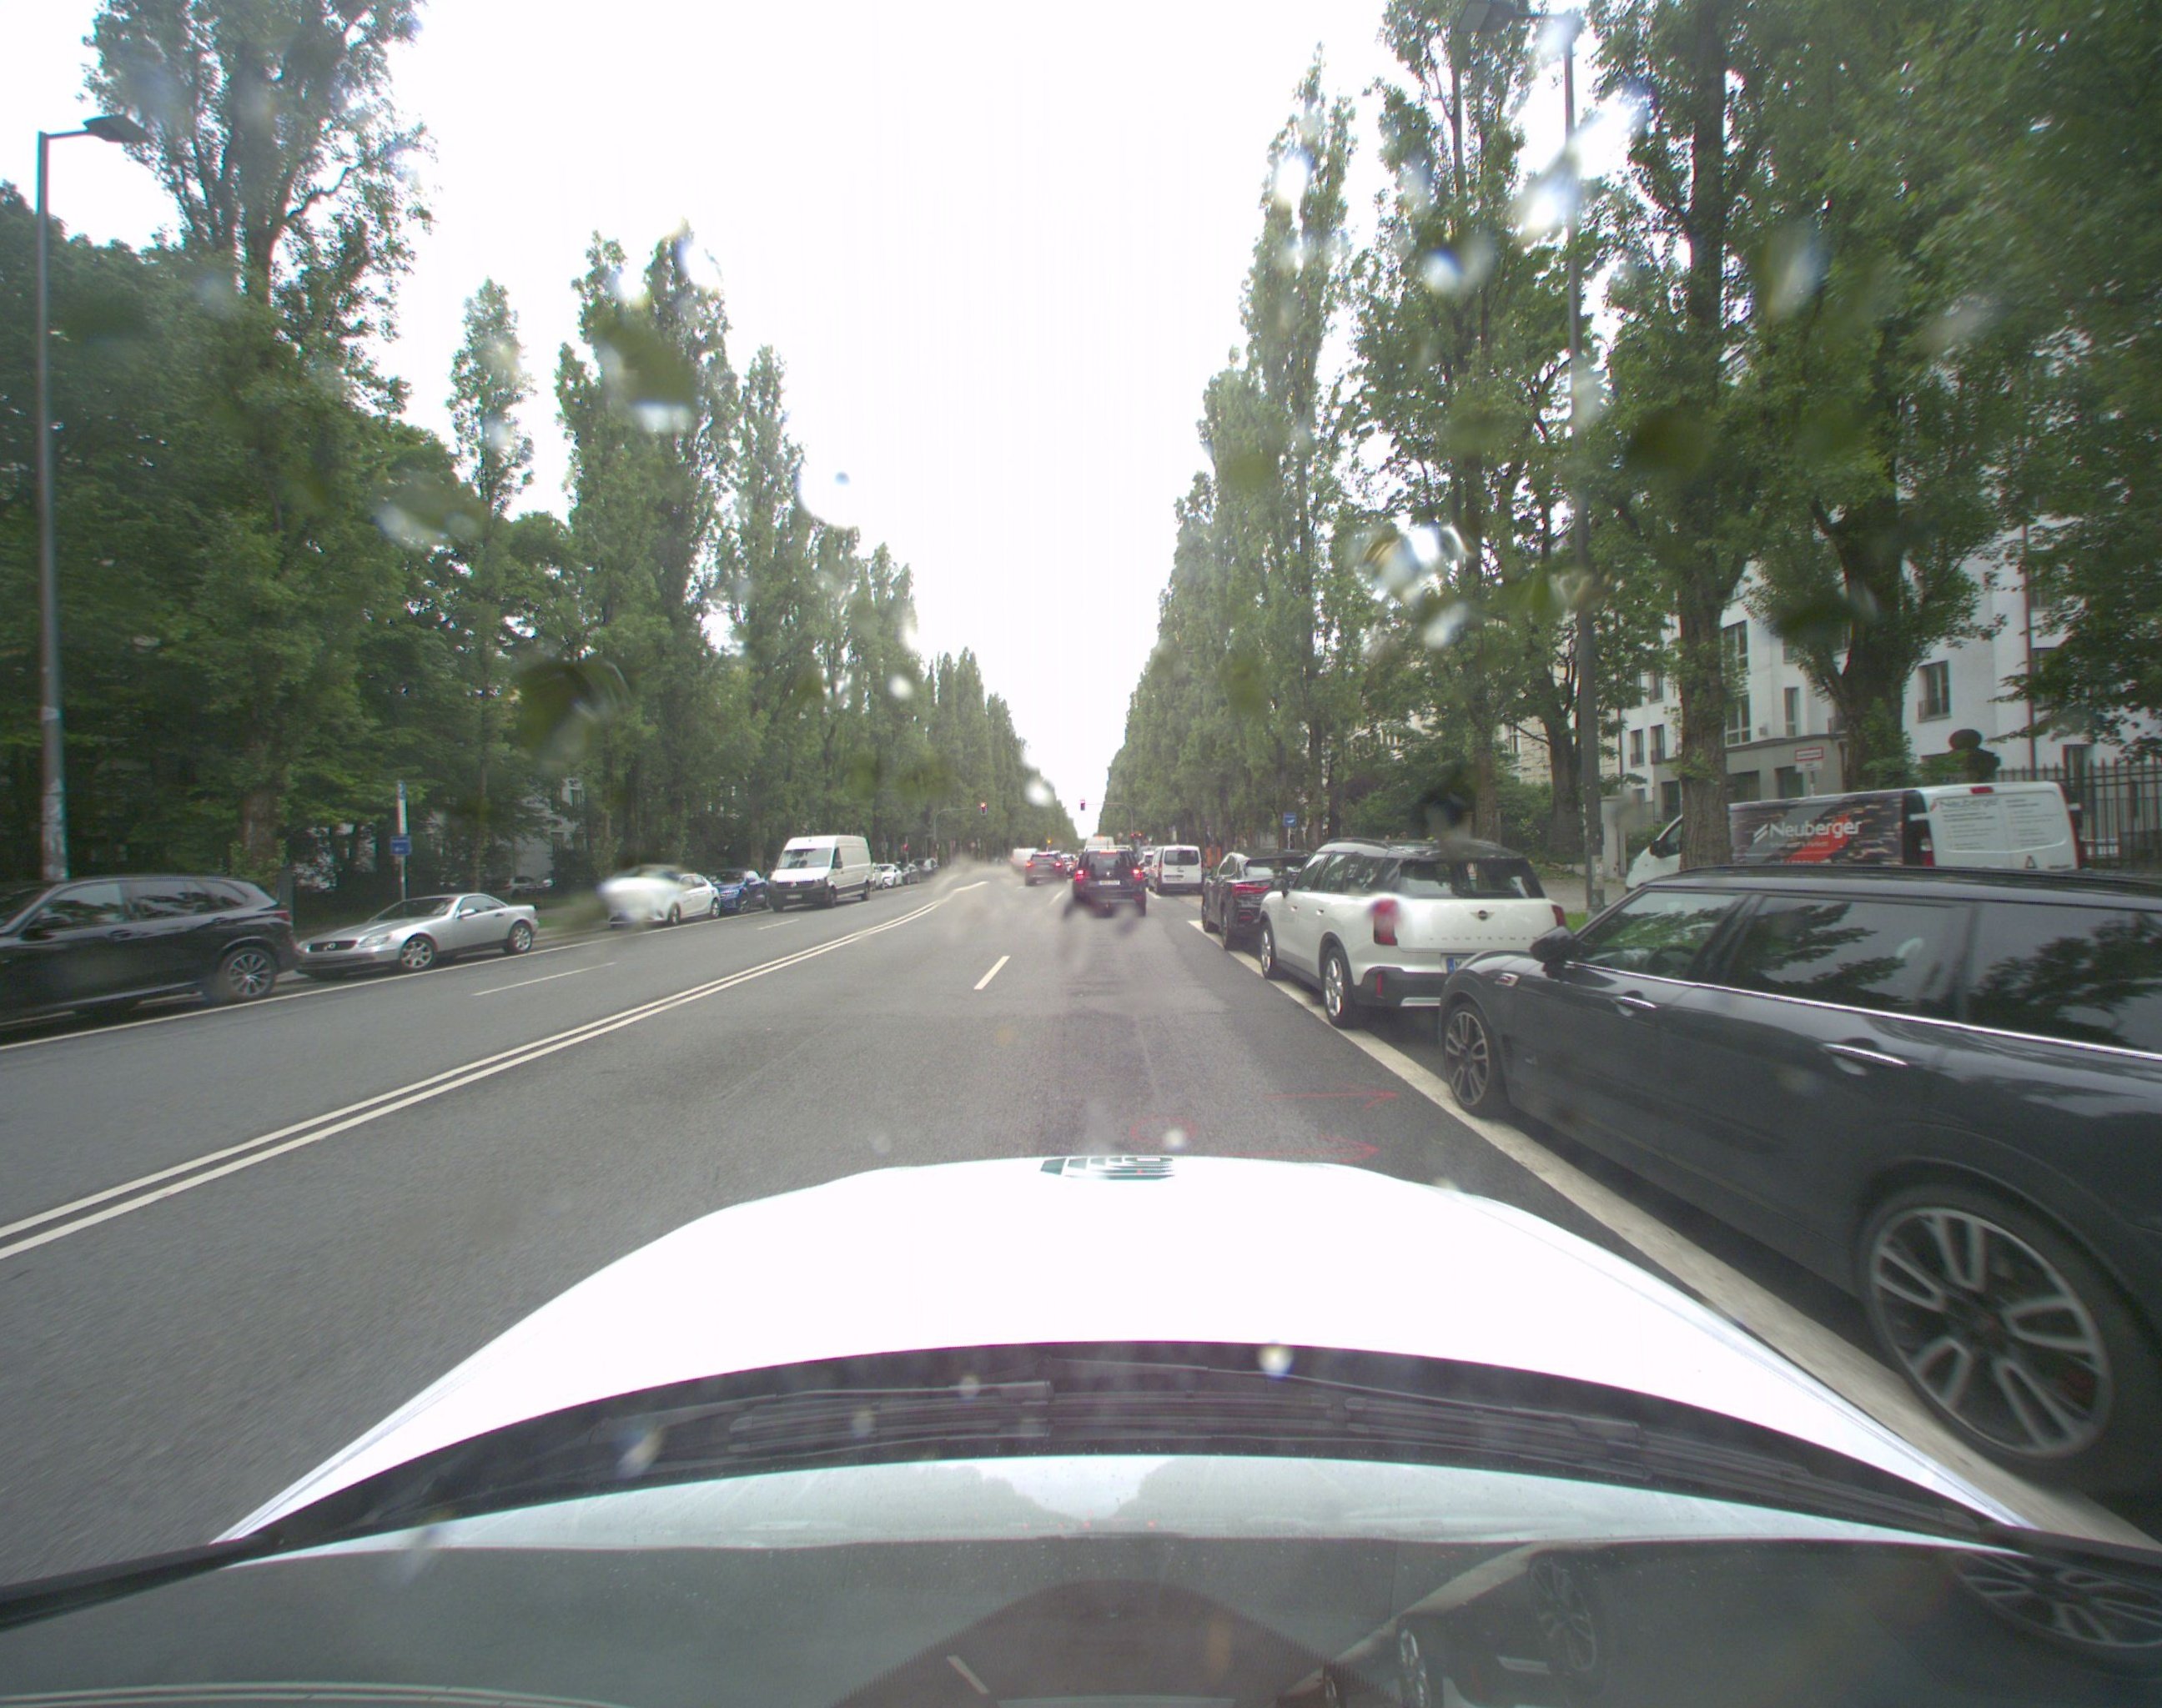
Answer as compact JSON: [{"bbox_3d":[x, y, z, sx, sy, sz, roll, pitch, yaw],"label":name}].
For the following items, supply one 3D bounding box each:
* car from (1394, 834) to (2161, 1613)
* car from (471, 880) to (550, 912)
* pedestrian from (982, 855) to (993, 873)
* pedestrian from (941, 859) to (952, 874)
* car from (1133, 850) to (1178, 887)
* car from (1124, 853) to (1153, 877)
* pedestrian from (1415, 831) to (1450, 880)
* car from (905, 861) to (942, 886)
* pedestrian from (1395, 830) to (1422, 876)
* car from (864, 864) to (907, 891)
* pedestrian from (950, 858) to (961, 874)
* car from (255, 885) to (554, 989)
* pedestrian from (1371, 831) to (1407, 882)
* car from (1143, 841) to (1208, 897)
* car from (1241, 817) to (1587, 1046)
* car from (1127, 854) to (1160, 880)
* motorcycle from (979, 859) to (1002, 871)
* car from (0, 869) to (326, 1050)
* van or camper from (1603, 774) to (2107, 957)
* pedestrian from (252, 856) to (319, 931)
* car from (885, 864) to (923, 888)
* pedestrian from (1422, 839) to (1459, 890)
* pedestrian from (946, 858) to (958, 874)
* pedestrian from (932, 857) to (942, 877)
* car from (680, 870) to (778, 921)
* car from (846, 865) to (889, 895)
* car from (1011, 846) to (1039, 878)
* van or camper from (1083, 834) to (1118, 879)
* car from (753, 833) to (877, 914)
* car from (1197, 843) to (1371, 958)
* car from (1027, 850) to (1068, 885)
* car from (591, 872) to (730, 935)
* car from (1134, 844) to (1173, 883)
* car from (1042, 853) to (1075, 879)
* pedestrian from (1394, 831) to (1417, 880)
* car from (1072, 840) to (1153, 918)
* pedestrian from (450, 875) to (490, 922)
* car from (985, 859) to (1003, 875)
[{"bbox_3d":[3.008,0.714,3.509,1.697,1.520,4.295,-2,0,1],"label":"car"},{"bbox_3d":[-35.495,2.591,50.820,1.986,1.772,4.002,-2,0,2],"label":"car"},{"bbox_3d":[-10.209,1.085,88.883,0.881,2.013,1.014,-2,0,4],"label":"pedestrian"},{"bbox_3d":[-15.284,1.405,92.844,0.887,1.655,0.868,-2,0,-37],"label":"pedestrian"},{"bbox_3d":[3.412,0.629,37.920,1.735,1.593,4.212,-2,0,1],"label":"car"},{"bbox_3d":[3.824,0.731,54.570,1.729,1.475,3.563,-2,0,1],"label":"car"},{"bbox_3d":[13.089,0.044,30.378,0.801,1.782,0.816,-2,0,-16],"label":"pedestrian"},{"bbox_3d":[-11.551,1.406,60.113,1.844,1.654,4.693,-4,0,-1],"label":"car"},{"bbox_3d":[11.515,-0.028,28.651,0.566,1.578,0.867,-2,0,0],"label":"pedestrian"},{"bbox_3d":[-11.618,1.382,48.676,1.619,1.389,4.163,-4,0,-2],"label":"car"},{"bbox_3d":[-13.994,1.336,90.832,0.887,1.655,0.868,-2,0,-37],"label":"pedestrian"},{"bbox_3d":[-12.001,1.385,14.912,1.820,1.334,4.234,-4,0,1],"label":"car"},{"bbox_3d":[10.771,0.088,28.488,0.850,1.717,0.867,-3,0,0],"label":"pedestrian"},{"bbox_3d":[3.491,0.513,30.710,1.846,1.881,4.166,-2,0,-1],"label":"car"},{"bbox_3d":[2.965,0.576,8.442,1.737,1.675,4.580,-2,0,1],"label":"car"},{"bbox_3d":[3.739,0.754,49.063,1.729,1.387,3.563,-2,0,1],"label":"car"},{"bbox_3d":[-10.241,1.246,92.212,2.355,1.269,0.930,-2,0,1],"label":"motorcycle"},{"bbox_3d":[-11.990,1.177,9.373,1.935,1.767,4.894,-4,0,0],"label":"car"},{"bbox_3d":[10.036,0.118,11.436,2.069,1.933,5.370,-1,0,1],"label":"van or camper"},{"bbox_3d":[-18.376,0.894,18.822,0.735,1.664,0.751,-2,0,1],"label":"pedestrian"},{"bbox_3d":[-11.708,1.415,54.164,1.619,1.389,4.164,-4,0,-1],"label":"car"},{"bbox_3d":[13.237,0.358,30.001,0.905,1.800,0.825,-3,2,-20],"label":"pedestrian"},{"bbox_3d":[-14.511,1.351,91.572,0.887,1.655,0.868,-2,0,-37],"label":"pedestrian"},{"bbox_3d":[-11.764,1.039,66.548,0.658,1.577,0.530,-2,0,1],"label":"pedestrian"},{"bbox_3d":[-11.914,1.360,27.803,1.704,1.451,3.585,-5,0,-1],"label":"car"},{"bbox_3d":[-11.690,1.409,44.652,1.423,1.447,2.966,-5,0,0],"label":"car"},{"bbox_3d":[-3.978,0.564,58.208,1.777,2.111,4.021,-2,0,-2],"label":"car"},{"bbox_3d":[1.150,0.147,50.178,1.969,2.548,4.023,-2,0,-1],"label":"van or camper"},{"bbox_3d":[-9.443,0.638,29.720,2.221,2.483,6.755,-4,0,-1],"label":"car"},{"bbox_3d":[3.149,0.642,13.600,1.873,1.540,4.466,-2,0,2],"label":"car"},{"bbox_3d":[-1.649,0.645,40.900,1.775,1.620,4.025,1,0,1],"label":"car"},{"bbox_3d":[-12.066,1.345,23.698,1.765,1.452,4.232,-4,0,0],"label":"car"},{"bbox_3d":[3.779,0.471,43.193,1.729,1.895,4.025,-2,0,1],"label":"car"},{"bbox_3d":[-1.407,0.746,52.545,1.987,1.560,4.000,-2,0,0],"label":"car"},{"bbox_3d":[12.560,0.052,31.541,0.487,1.862,0.635,-2,0,-16],"label":"pedestrian"},{"bbox_3d":[0.767,0.569,20.656,1.849,1.770,4.001,0,0,1],"label":"car"},{"bbox_3d":[-21.573,1.554,28.786,0.734,1.599,0.881,-1,-1,2],"label":"pedestrian"},{"bbox_3d":[-10.799,1.603,101.016,1.682,1.783,3.775,-2,0,1],"label":"car"}]
